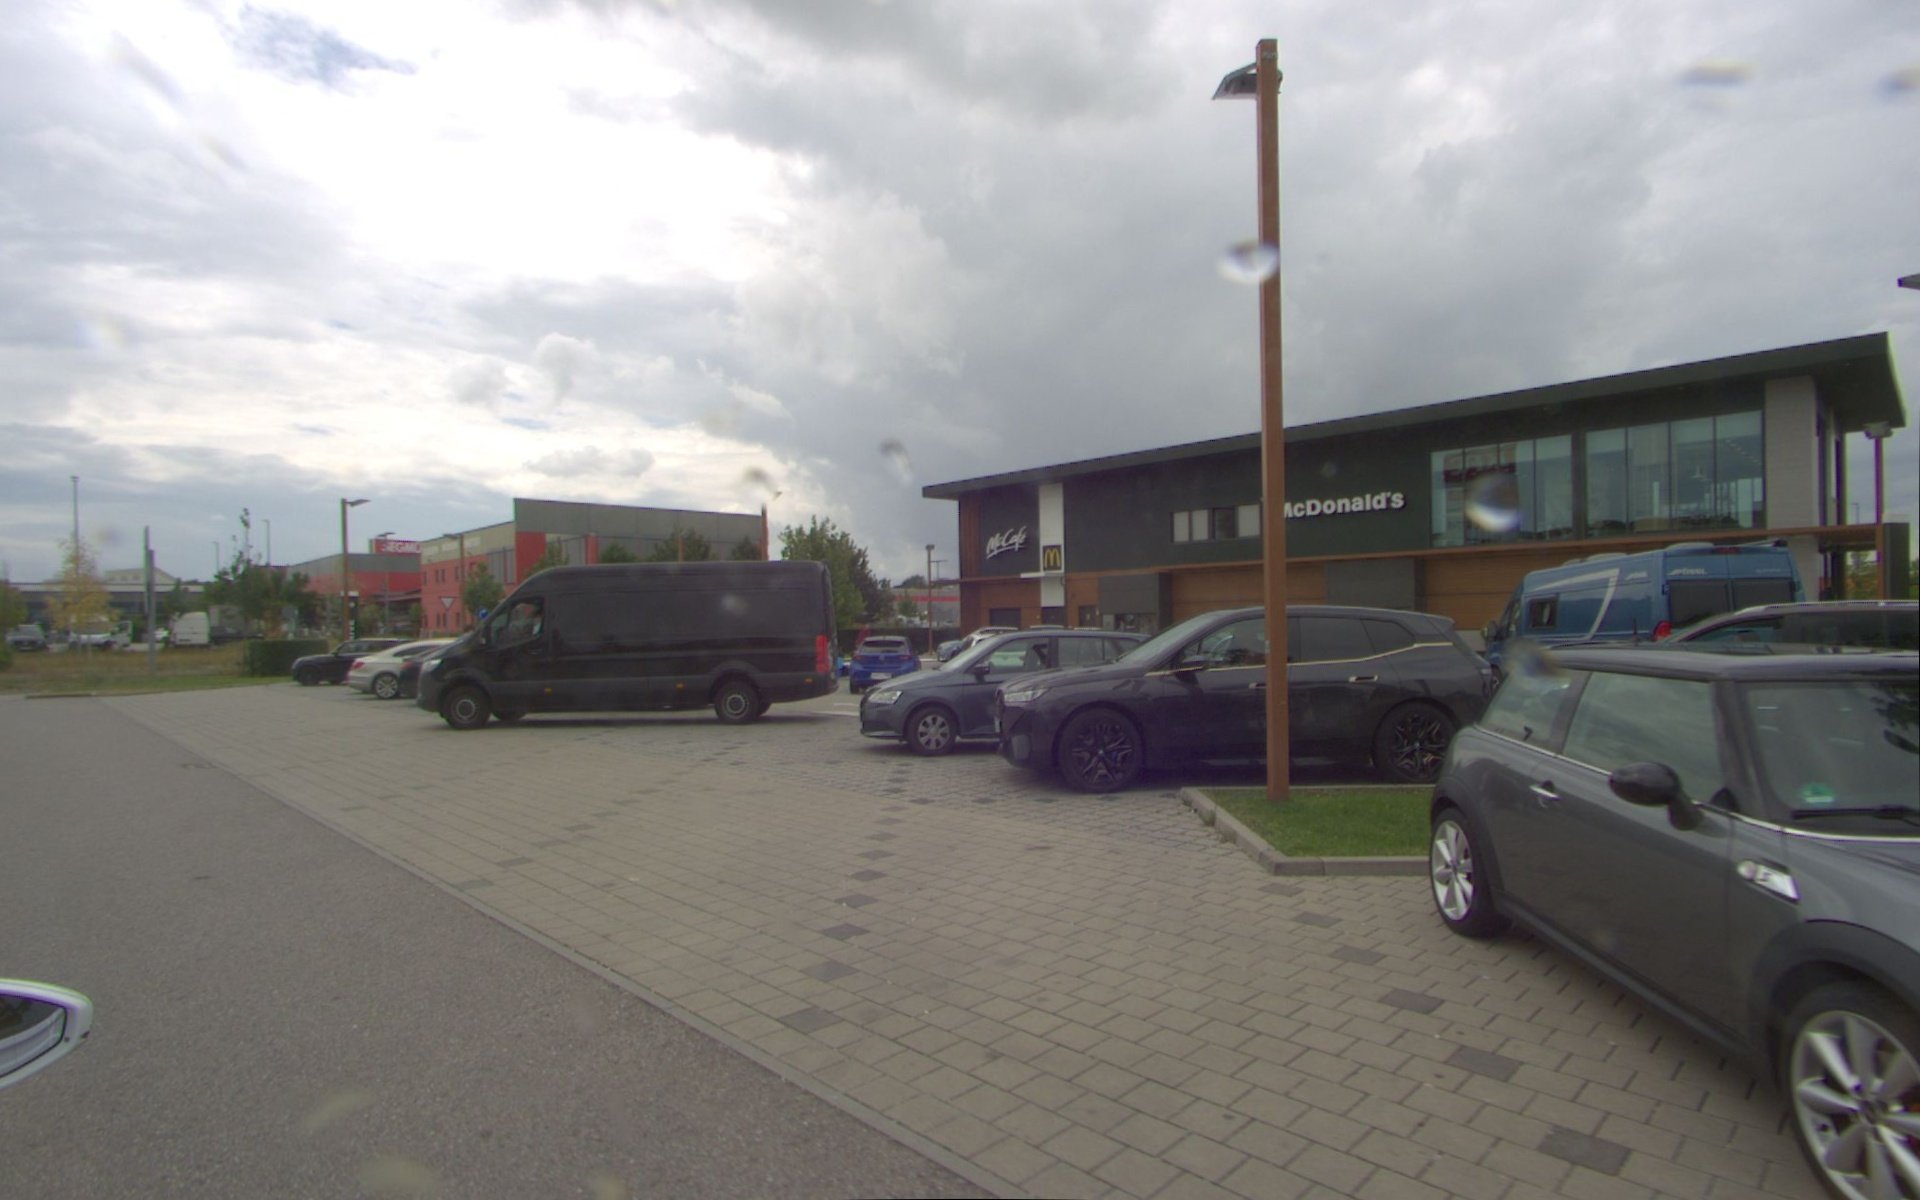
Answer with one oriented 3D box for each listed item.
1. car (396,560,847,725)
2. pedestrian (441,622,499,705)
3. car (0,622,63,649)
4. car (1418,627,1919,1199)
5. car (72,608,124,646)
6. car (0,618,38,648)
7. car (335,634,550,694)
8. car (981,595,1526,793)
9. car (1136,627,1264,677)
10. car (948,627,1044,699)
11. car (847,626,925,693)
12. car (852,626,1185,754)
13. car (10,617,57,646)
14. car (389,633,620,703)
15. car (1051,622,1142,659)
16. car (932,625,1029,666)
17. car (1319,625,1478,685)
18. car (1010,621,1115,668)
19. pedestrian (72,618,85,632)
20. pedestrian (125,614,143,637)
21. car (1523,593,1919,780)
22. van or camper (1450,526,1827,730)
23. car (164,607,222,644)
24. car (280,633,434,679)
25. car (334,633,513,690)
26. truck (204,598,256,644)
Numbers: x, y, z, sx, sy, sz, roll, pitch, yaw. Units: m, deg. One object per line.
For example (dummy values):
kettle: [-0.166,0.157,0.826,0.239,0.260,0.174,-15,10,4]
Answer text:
car: [-5.436,0.712,16.899,6.876,2.586,2.074,0,-1,-3]
pedestrian: [-10.179,1.318,20.833,0.826,1.699,0.750,-1,-2,-1]
car: [-65.083,2.447,69.626,3.959,1.761,1.873,0,1,-43]
car: [3.073,0.842,3.452,1.578,1.394,3.526,0,0,4]
car: [-55.201,1.696,64.093,2.391,2.243,6.002,1,0,-42]
car: [-68.967,2.372,71.783,1.976,2.040,3.969,1,1,40]
car: [-12.702,1.549,24.794,4.373,1.430,1.754,0,-1,-4]
car: [2.661,0.860,9.937,4.801,1.750,2.000,0,-1,-2]
car: [8.286,1.789,34.820,4.013,1.594,1.838,-1,0,1]
car: [0.741,1.390,23.343,1.746,1.485,4.112,2,-1,-4]
car: [-1.877,1.506,26.411,1.735,1.530,3.999,0,0,0]
car: [0.630,1.075,12.665,3.924,1.430,1.833,0,-2,-8]
car: [-57.219,1.927,61.880,2.056,1.660,5.022,1,0,-42]
car: [-9.946,1.479,22.114,4.321,1.482,1.688,0,-1,-2]
car: [6.344,1.863,46.812,3.958,1.526,1.772,0,1,45]
car: [0.822,1.887,42.080,3.831,1.605,1.749,0,1,-9]
car: [13.049,1.620,29.947,3.922,1.506,1.790,-2,1,-1]
car: [4.006,1.744,39.507,3.922,1.773,2.000,0,1,-1]
pedestrian: [-94.811,2.697,107.671,0.783,1.448,0.652,0,1,10]
pedestrian: [-52.864,1.646,64.077,0.780,1.448,0.968,-1,1,-45]
car: [8.420,0.825,10.549,4.138,1.712,1.799,-2,-1,37]
van or camper: [10.720,0.510,16.757,2.130,2.735,6.577,0,-2,3]
car: [-51.612,1.669,67.326,2.323,2.298,6.440,0,1,-44]
car: [-19.259,1.784,32.099,3.855,1.430,1.687,0,-1,-6]
car: [-14.488,1.653,27.208,3.923,1.483,1.687,0,-1,-6]
truck: [-62.420,1.698,85.544,2.630,3.793,8.175,-1,1,-43]
